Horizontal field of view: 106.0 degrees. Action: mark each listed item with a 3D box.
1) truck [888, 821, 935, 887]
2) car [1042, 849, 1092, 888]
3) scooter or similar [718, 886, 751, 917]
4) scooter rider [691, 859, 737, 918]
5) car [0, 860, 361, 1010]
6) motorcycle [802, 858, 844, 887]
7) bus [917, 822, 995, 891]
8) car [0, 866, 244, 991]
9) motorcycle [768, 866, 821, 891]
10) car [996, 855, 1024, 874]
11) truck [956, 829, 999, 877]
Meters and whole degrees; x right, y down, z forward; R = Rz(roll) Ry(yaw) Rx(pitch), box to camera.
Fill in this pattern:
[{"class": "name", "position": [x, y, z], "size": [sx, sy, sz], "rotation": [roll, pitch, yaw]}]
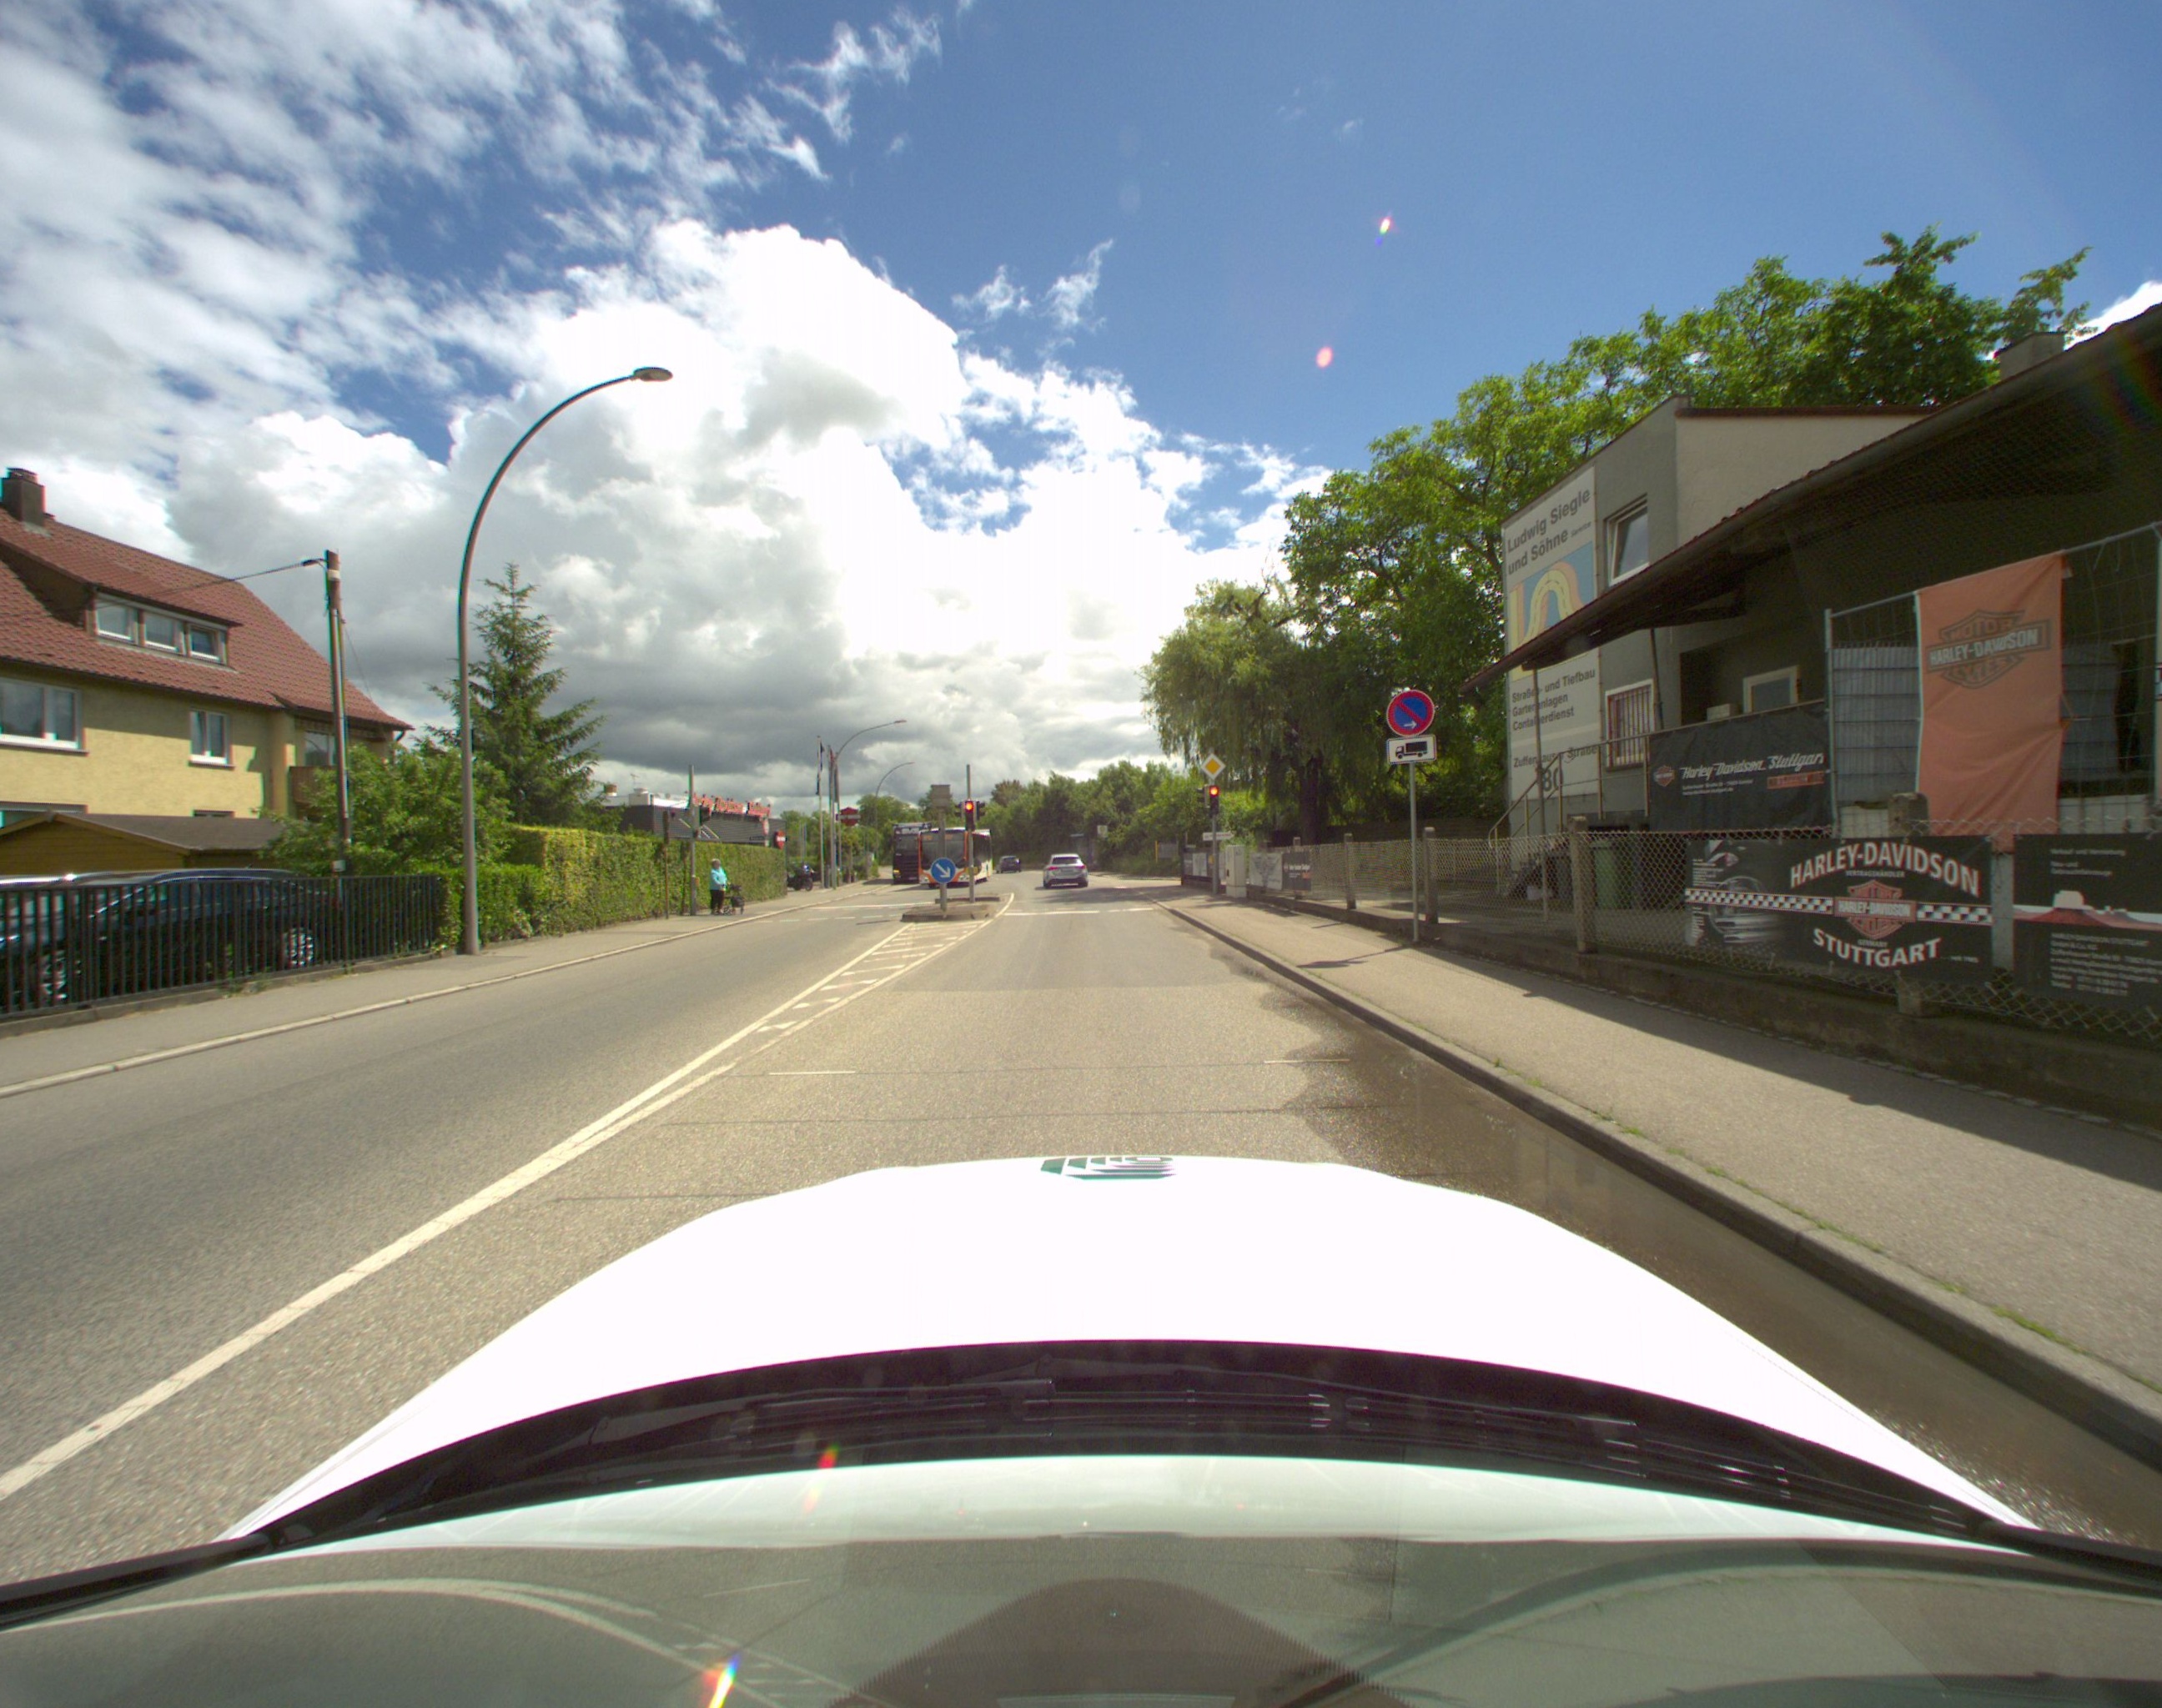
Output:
[{"class": "truck", "position": [-11.461, 0.021, 55.706], "size": [2.427, 4.131, 9.126], "rotation": [0, -1, -7]}, {"class": "car", "position": [-0.669, 0.599, 35.314], "size": [1.881, 1.508, 3.993], "rotation": [-2, 0, -5]}, {"class": "scooter or similar", "position": [-9.794, 1.338, 23.025], "size": [0.610, 0.831, 0.659], "rotation": [-2, 0, -2]}, {"class": "scooter rider", "position": [-10.391, 0.969, 23.082], "size": [0.876, 1.589, 0.795], "rotation": [-2, 0, -2]}, {"class": "car", "position": [-12.141, 0.883, 10.456], "size": [2.149, 1.507, 4.261], "rotation": [-2, 0, -4]}, {"class": "motorcycle", "position": [-15.734, 1.121, 49.622], "size": [2.283, 1.683, 1.047], "rotation": [-1, -1, 21]}, {"class": "bus", "position": [-6.776, 0.114, 45.995], "size": [2.770, 3.266, 12.113], "rotation": [-3, 0, -2]}, {"class": "car", "position": [-14.555, 0.983, 11.029], "size": [2.149, 1.507, 4.261], "rotation": [-2, 0, -4]}, {"class": "motorcycle", "position": [-14.392, 1.236, 40.920], "size": [2.478, 1.218, 0.931], "rotation": [-1, -1, 21]}, {"class": "car", "position": [-6.139, 0.910, 70.374], "size": [1.886, 1.508, 3.983], "rotation": [-1, 0, -12]}, {"class": "truck", "position": [-8.550, -0.076, 66.260], "size": [2.841, 3.540, 9.688], "rotation": [-2, 0, -11]}]
